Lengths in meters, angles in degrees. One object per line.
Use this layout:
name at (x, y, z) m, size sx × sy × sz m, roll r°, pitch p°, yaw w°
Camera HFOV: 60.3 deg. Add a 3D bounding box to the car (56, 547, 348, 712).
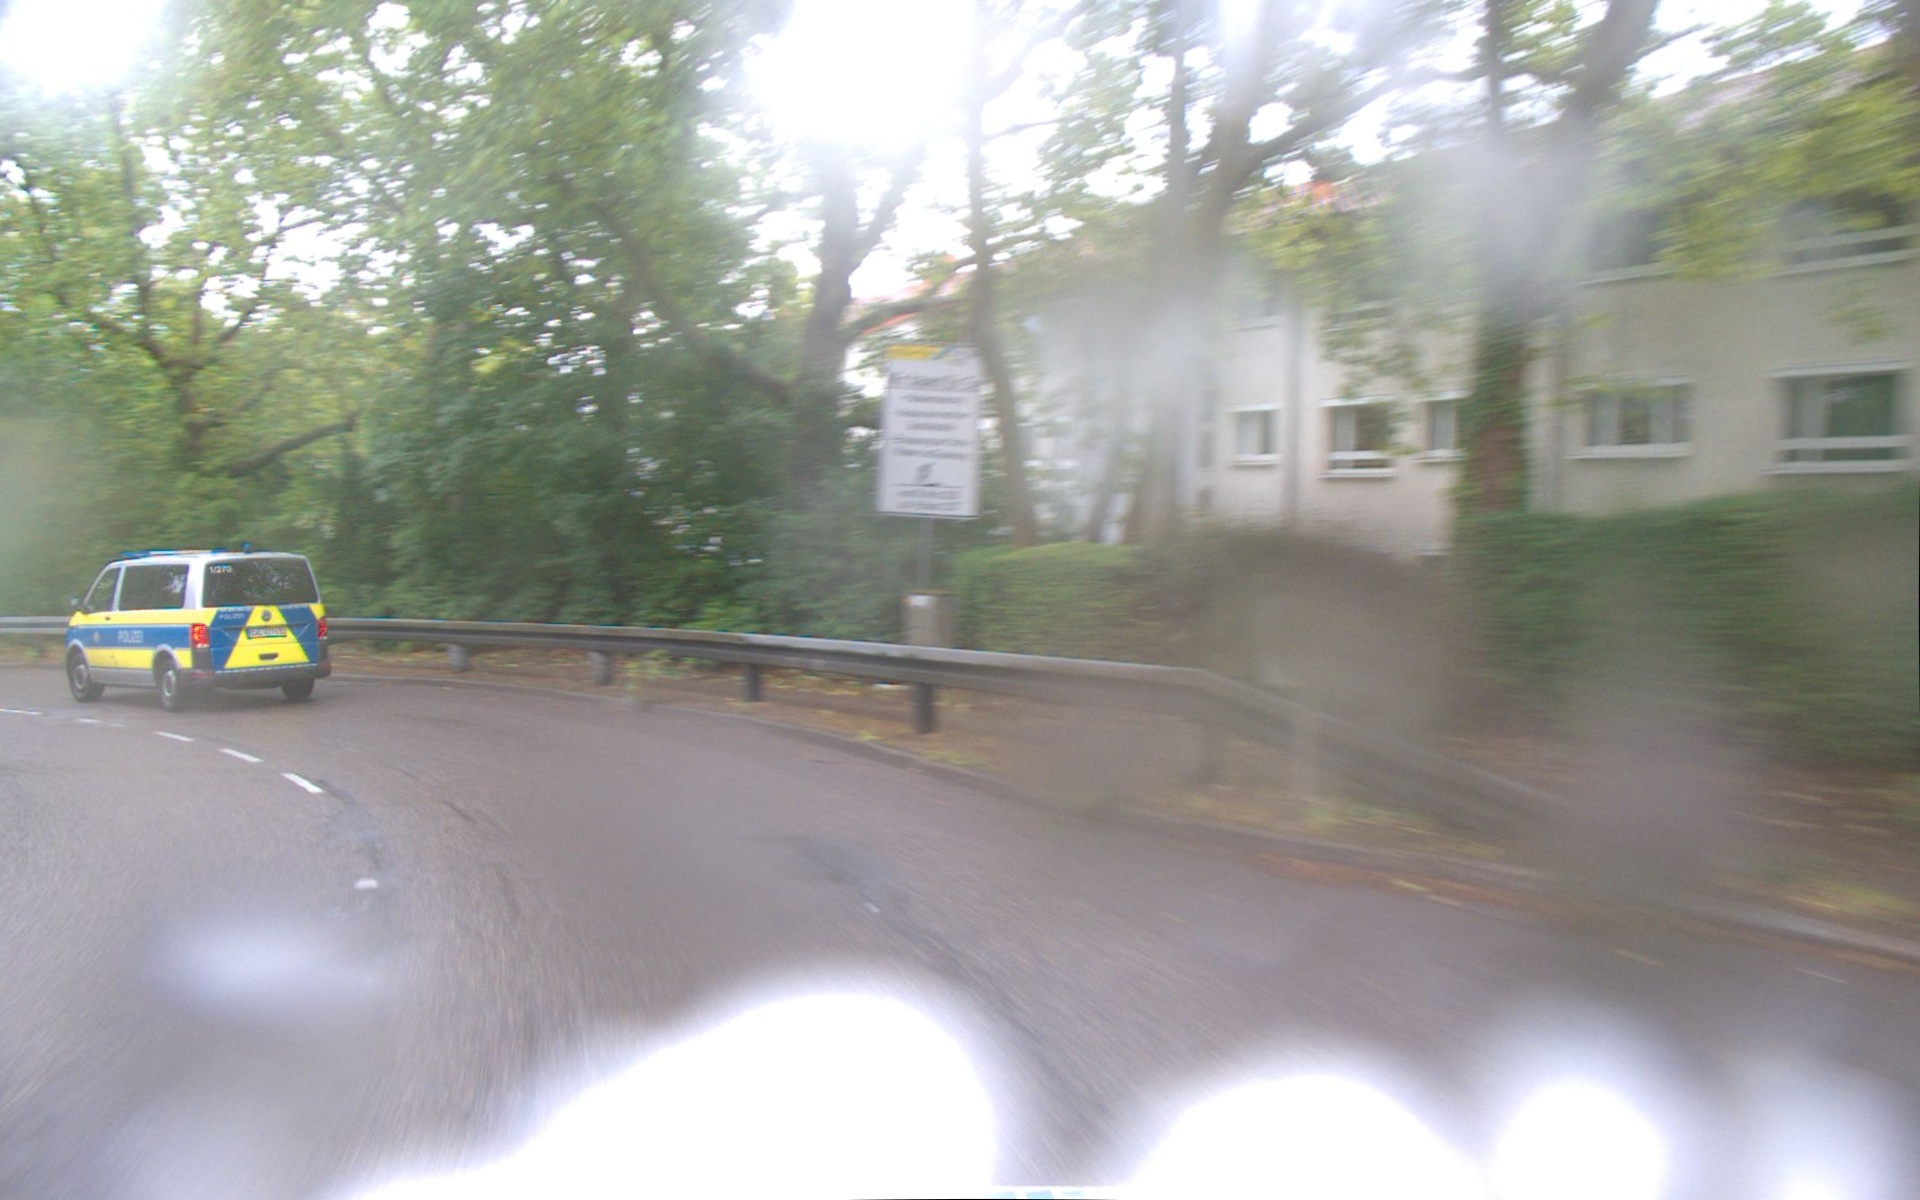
car at (-10.321, 0.341, 22.375) m, size 4.491 × 1.926 × 1.988 m, roll 0°, pitch 4°, yaw 44°
